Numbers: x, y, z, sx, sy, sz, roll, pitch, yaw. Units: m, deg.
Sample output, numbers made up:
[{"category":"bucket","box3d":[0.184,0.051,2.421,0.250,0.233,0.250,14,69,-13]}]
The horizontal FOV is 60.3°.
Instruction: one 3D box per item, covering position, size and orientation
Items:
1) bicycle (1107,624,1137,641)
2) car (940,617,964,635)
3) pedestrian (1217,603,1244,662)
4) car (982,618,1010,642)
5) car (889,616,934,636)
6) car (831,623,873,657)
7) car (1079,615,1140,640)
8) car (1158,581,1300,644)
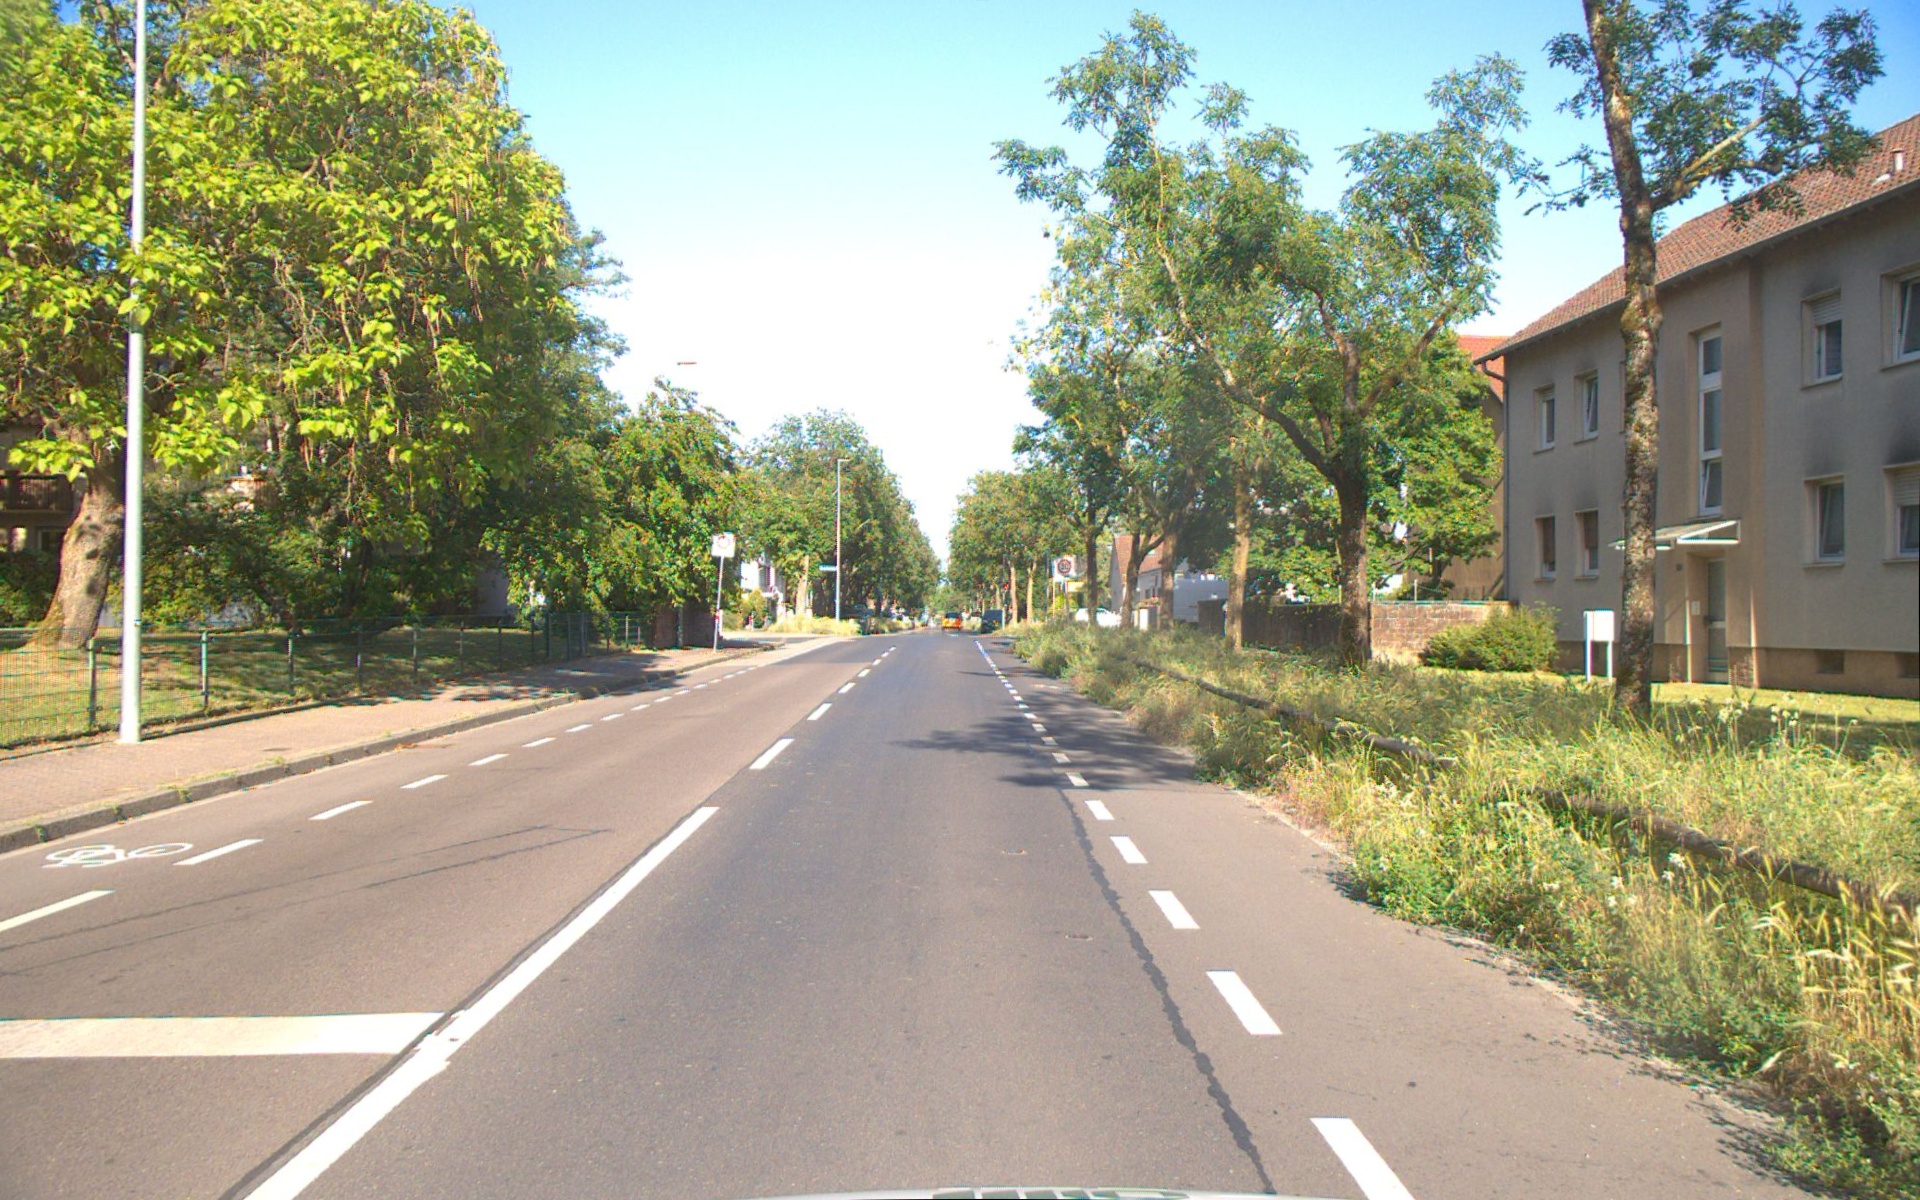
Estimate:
[{"category":"bicycle","box3d":[10.660,2.130,108.694,1.918,1.016,0.576,-1,0,-2]},{"category":"car","box3d":[-0.722,2.324,145.713,1.850,1.505,3.885,3,-1,-3]},{"category":"pedestrian","box3d":[8.106,0.967,49.613,0.624,1.735,0.612,-2,0,-2]},{"category":"car","box3d":[2.576,2.188,119.846,1.815,1.654,4.468,-1,-2,-1]},{"category":"car","box3d":[-5.867,3.177,201.769,5.388,2.287,2.516,2,0,-2]},{"category":"car","box3d":[-5.992,2.276,92.278,1.913,1.757,4.874,2,-2,1]},{"category":"car","box3d":[10.096,1.838,111.869,3.906,1.515,1.901,-2,0,-2]},{"category":"car","box3d":[11.165,0.534,68.950,5.484,2.584,2.264,0,-1,-4]}]
